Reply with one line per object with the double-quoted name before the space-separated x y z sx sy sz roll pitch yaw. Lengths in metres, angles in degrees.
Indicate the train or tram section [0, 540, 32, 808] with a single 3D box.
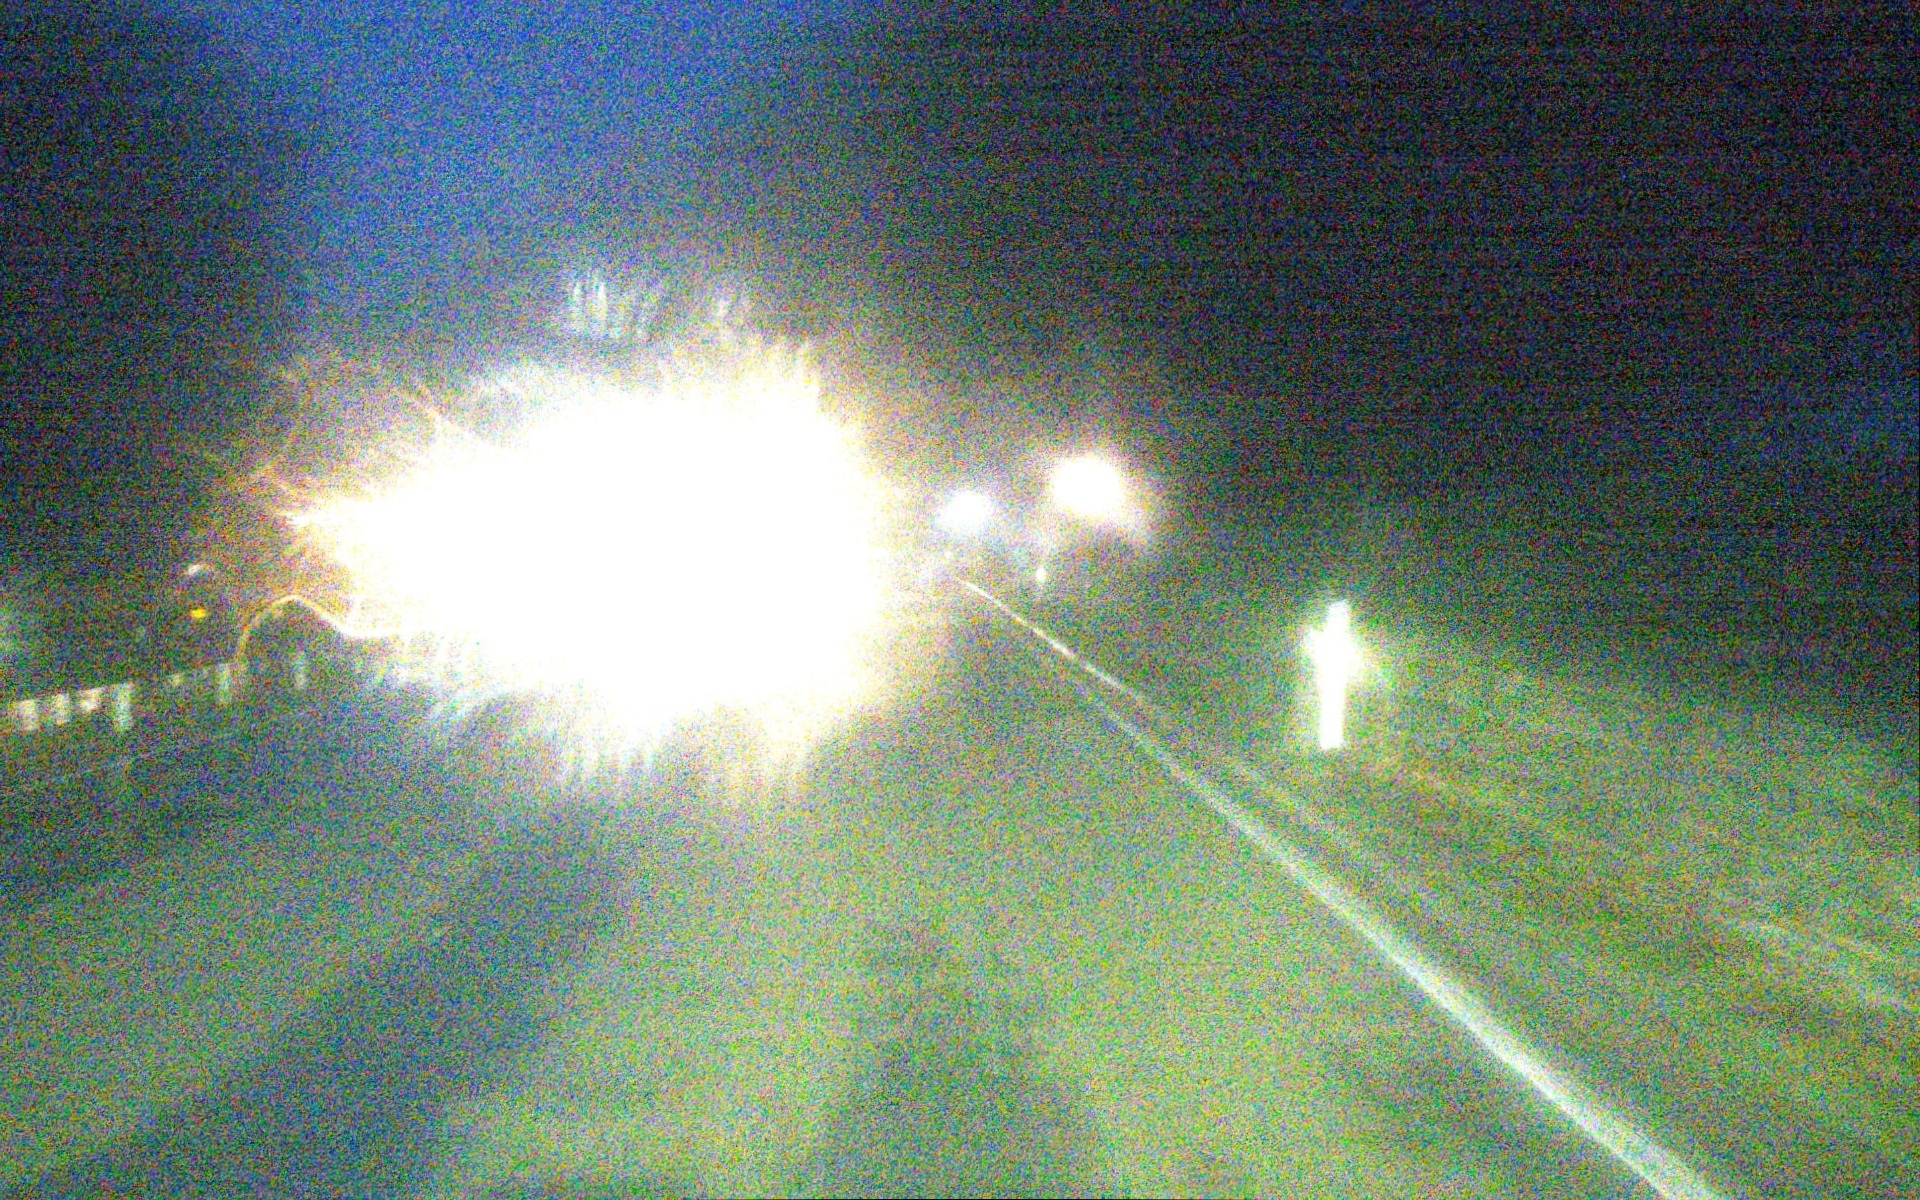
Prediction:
"train or tram section" -13.753 1.044 41.705 2.843 3.448 8.554 0 1 -1
